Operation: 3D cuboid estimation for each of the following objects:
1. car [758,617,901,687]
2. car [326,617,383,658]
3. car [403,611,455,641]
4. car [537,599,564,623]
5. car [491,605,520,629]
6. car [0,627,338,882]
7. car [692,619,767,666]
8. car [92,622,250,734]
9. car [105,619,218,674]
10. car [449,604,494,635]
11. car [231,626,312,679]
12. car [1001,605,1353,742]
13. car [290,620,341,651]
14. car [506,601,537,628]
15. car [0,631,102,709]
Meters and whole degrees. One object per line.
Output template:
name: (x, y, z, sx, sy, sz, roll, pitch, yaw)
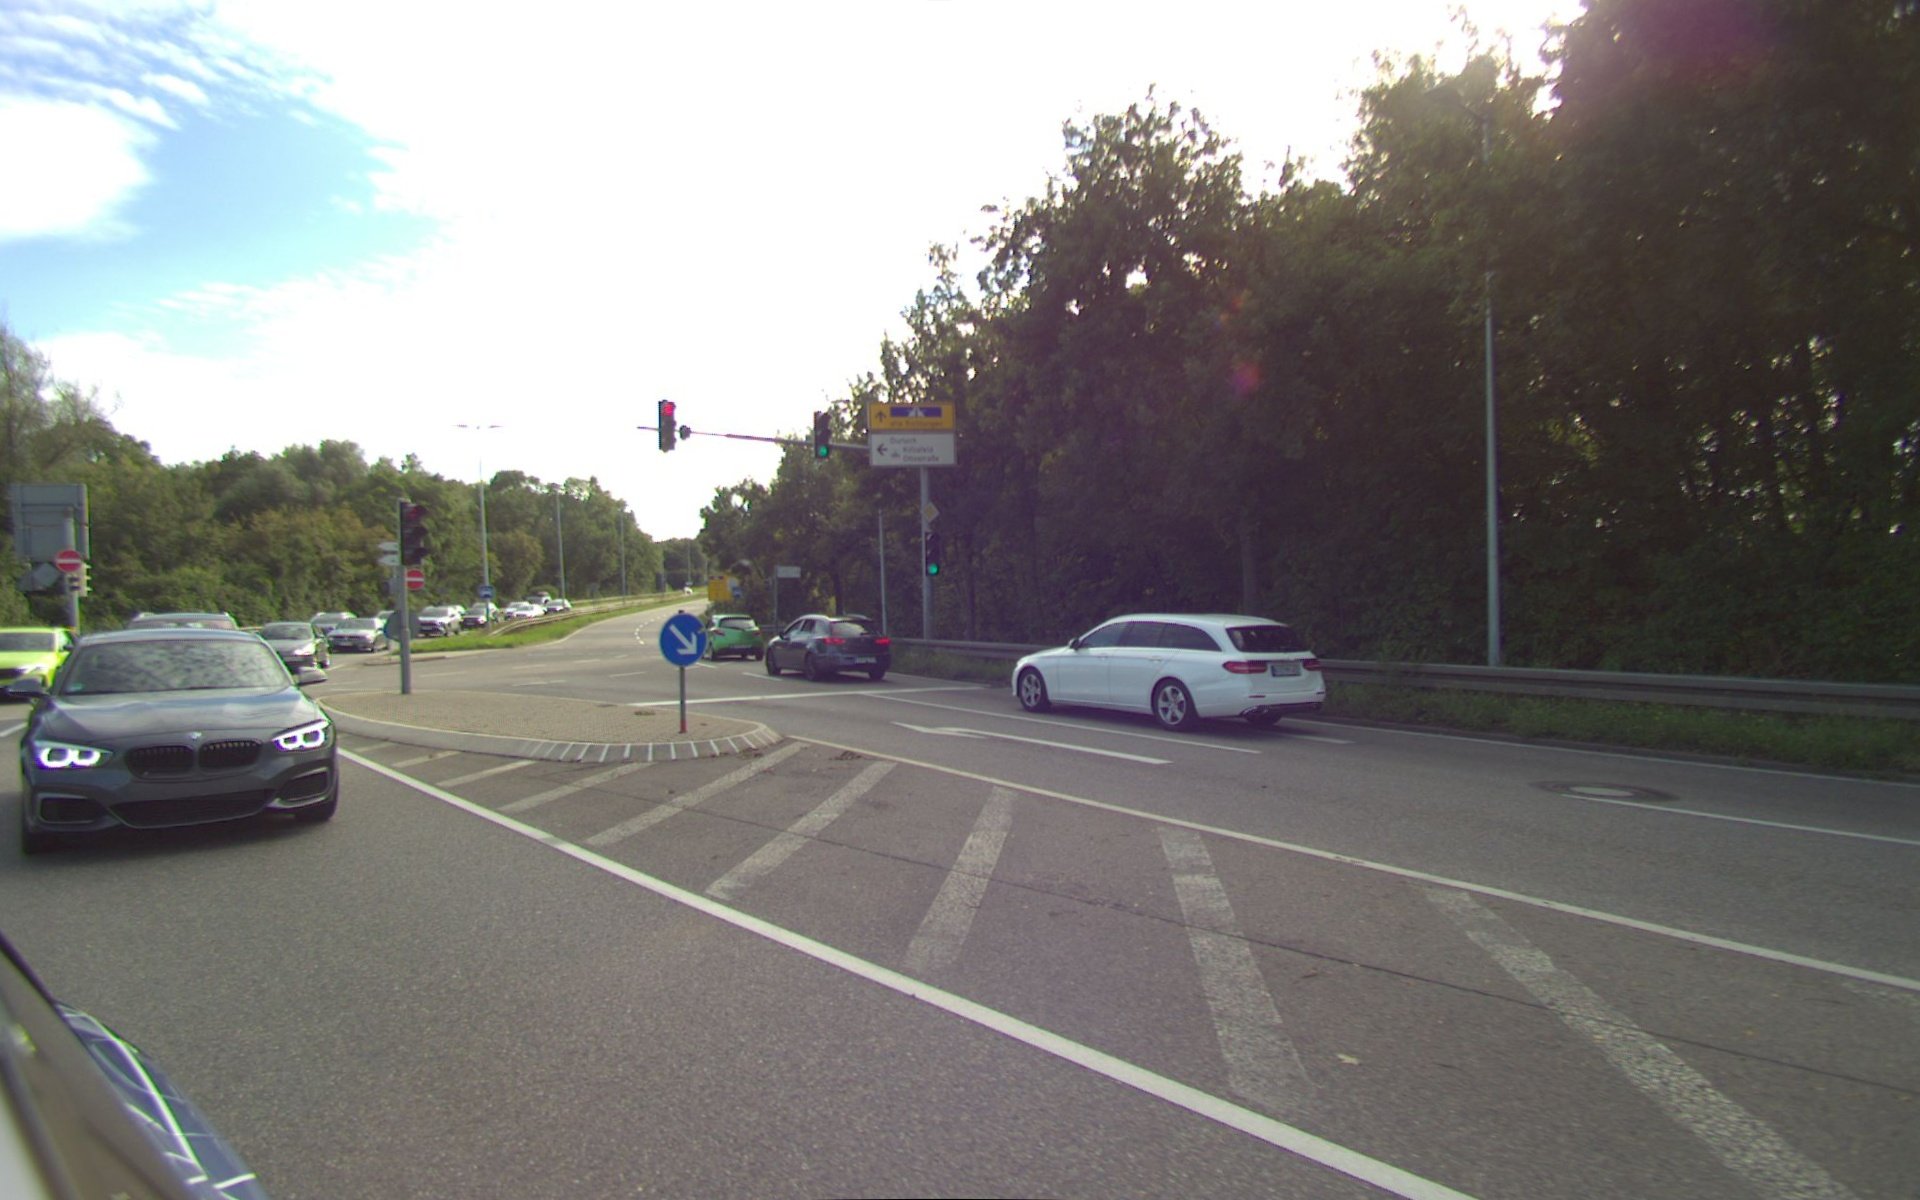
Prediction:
car: (-3.106, 1.123, 23.286, 1.789, 1.415, 4.405, 0, -1, -29)
car: (-24.757, 1.502, 41.460, 1.613, 1.564, 3.753, 0, -1, -24)
car: (-29.587, 1.403, 56.519, 1.965, 1.612, 4.295, 0, -1, -20)
car: (-36.653, 0.994, 90.664, 1.966, 2.029, 4.012, 0, -1, -18)
car: (-40.289, 1.478, 89.758, 1.966, 2.029, 4.012, 0, -1, -19)
car: (-6.112, 0.928, 7.768, 1.759, 1.415, 3.977, 0, -1, -39)
car: (-7.569, 1.331, 32.984, 1.613, 1.415, 3.753, 0, -1, -25)
car: (-12.670, 1.134, 16.263, 1.791, 1.518, 4.399, 0, -1, -39)
car: (-24.750, 1.389, 31.527, 1.965, 1.564, 4.013, 0, -1, -26)
car: (-32.466, 1.281, 67.376, 1.966, 2.029, 4.285, 0, -1, -15)
car: (-19.568, 1.438, 28.715, 1.665, 1.333, 3.792, 0, -1, -38)
car: (2.726, 0.880, 13.931, 1.789, 1.532, 4.839, 0, -1, -34)
car: (-31.375, 1.696, 49.352, 1.613, 1.415, 3.753, 0, -1, -24)
car: (-34.763, 1.136, 80.286, 1.966, 2.029, 4.012, 0, -1, -19)
car: (-19.304, 1.385, 20.715, 1.789, 1.415, 4.405, 0, -1, -29)
